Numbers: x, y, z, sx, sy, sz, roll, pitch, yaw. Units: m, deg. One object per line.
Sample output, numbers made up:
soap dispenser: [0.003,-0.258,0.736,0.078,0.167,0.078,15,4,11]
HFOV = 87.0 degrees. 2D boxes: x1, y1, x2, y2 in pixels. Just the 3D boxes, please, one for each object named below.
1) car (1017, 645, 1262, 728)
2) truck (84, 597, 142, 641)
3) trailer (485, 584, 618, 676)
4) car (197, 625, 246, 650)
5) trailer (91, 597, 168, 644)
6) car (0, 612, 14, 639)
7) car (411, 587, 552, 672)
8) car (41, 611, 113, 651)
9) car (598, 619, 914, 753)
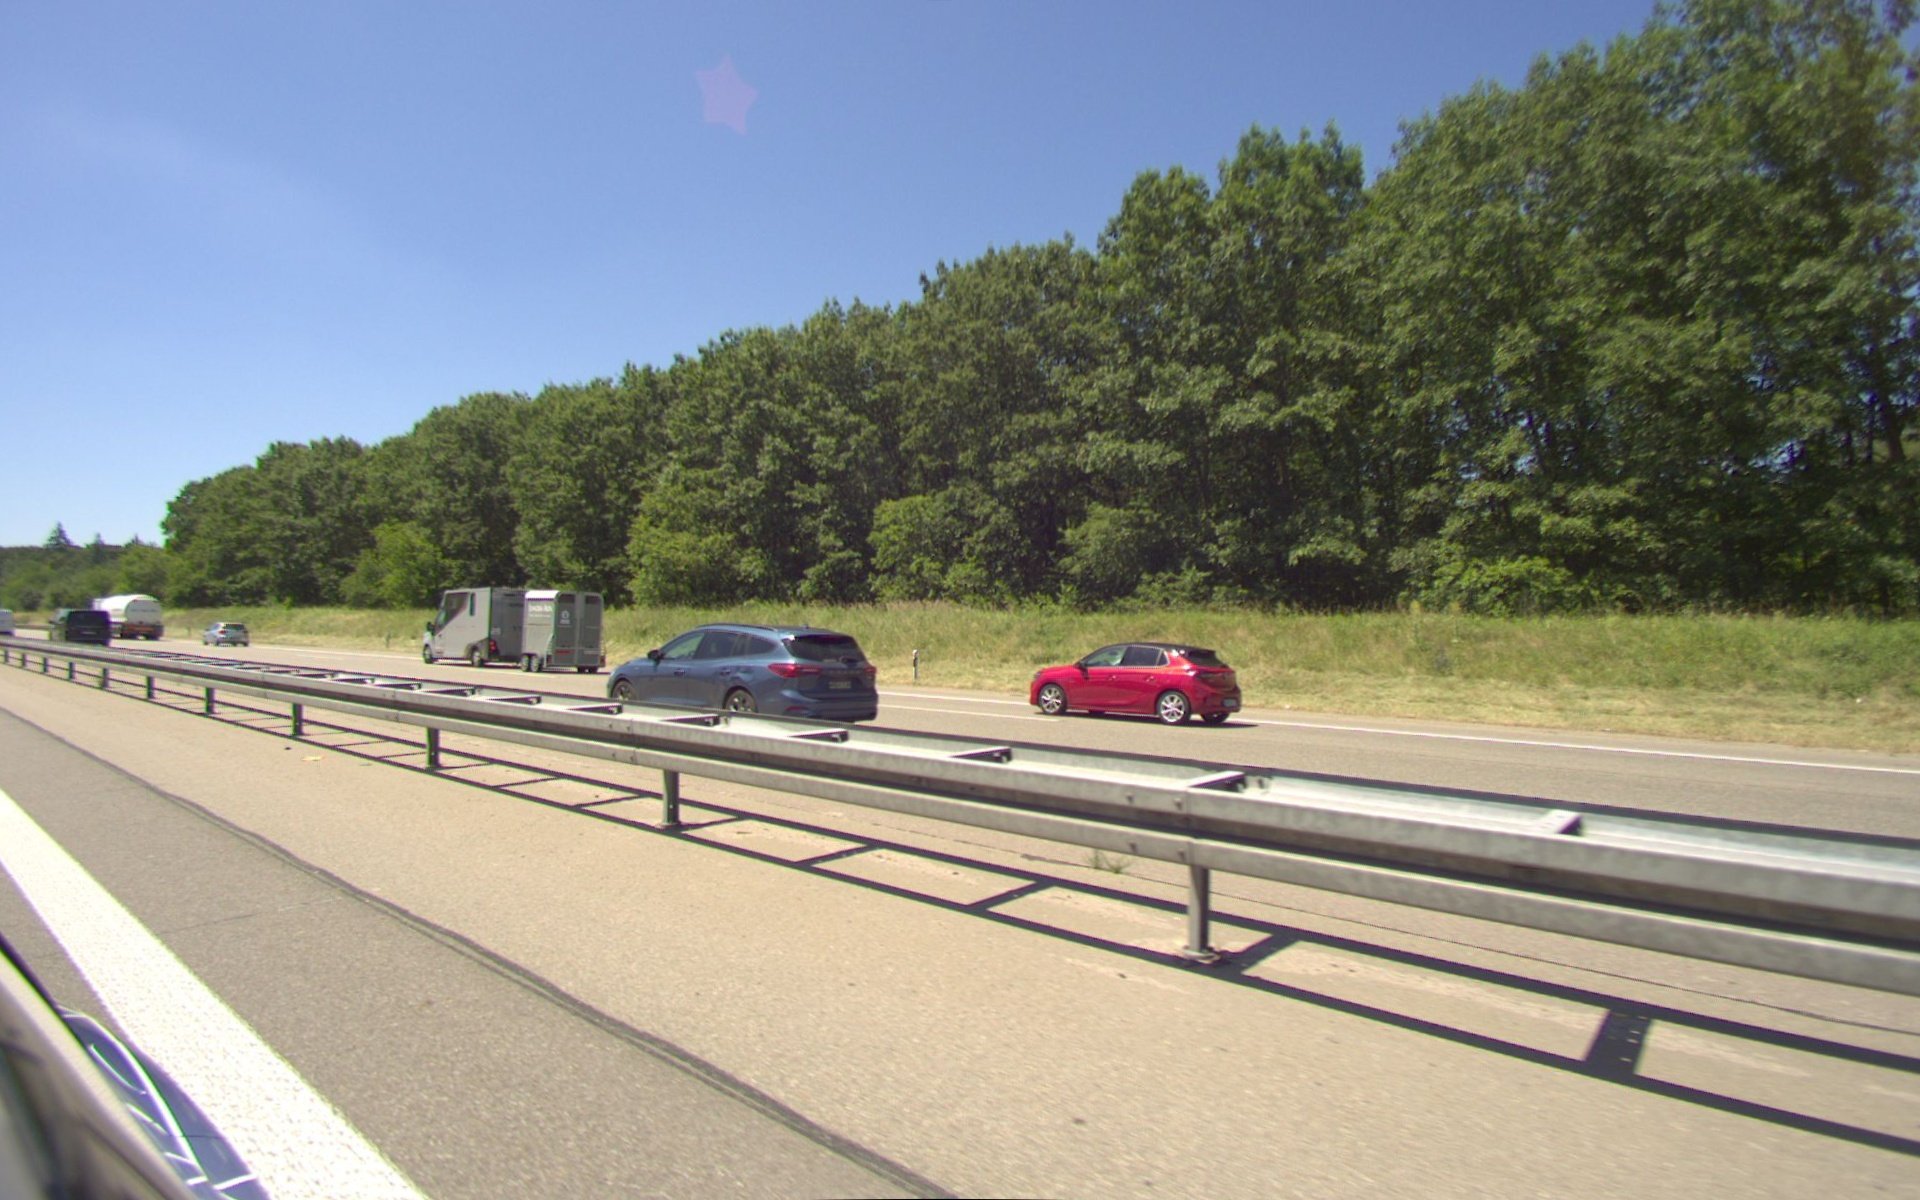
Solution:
car: [3.171,1.497,18.343,4.130,1.286,1.622,-1,-4,41]
truck: [-70.524,1.580,84.246,6.141,3.460,2.654,-1,-4,41]
trailer: [-13.652,1.017,33.742,4.582,2.880,2.190,-1,-4,41]
car: [-46.168,2.325,63.245,4.033,1.476,1.553,-1,-4,40]
trailer: [-65.796,1.638,80.031,11.794,3.460,2.654,-1,-4,41]
car: [-70.740,1.843,73.744,5.738,1.962,1.975,-1,-4,40]
car: [-17.797,1.110,37.440,6.450,2.880,2.190,-1,-4,41]
car: [-43.952,1.549,50.329,5.831,1.862,1.856,-1,-4,41]
car: [-2.852,1.033,13.470,4.622,1.493,1.600,-1,-4,41]
